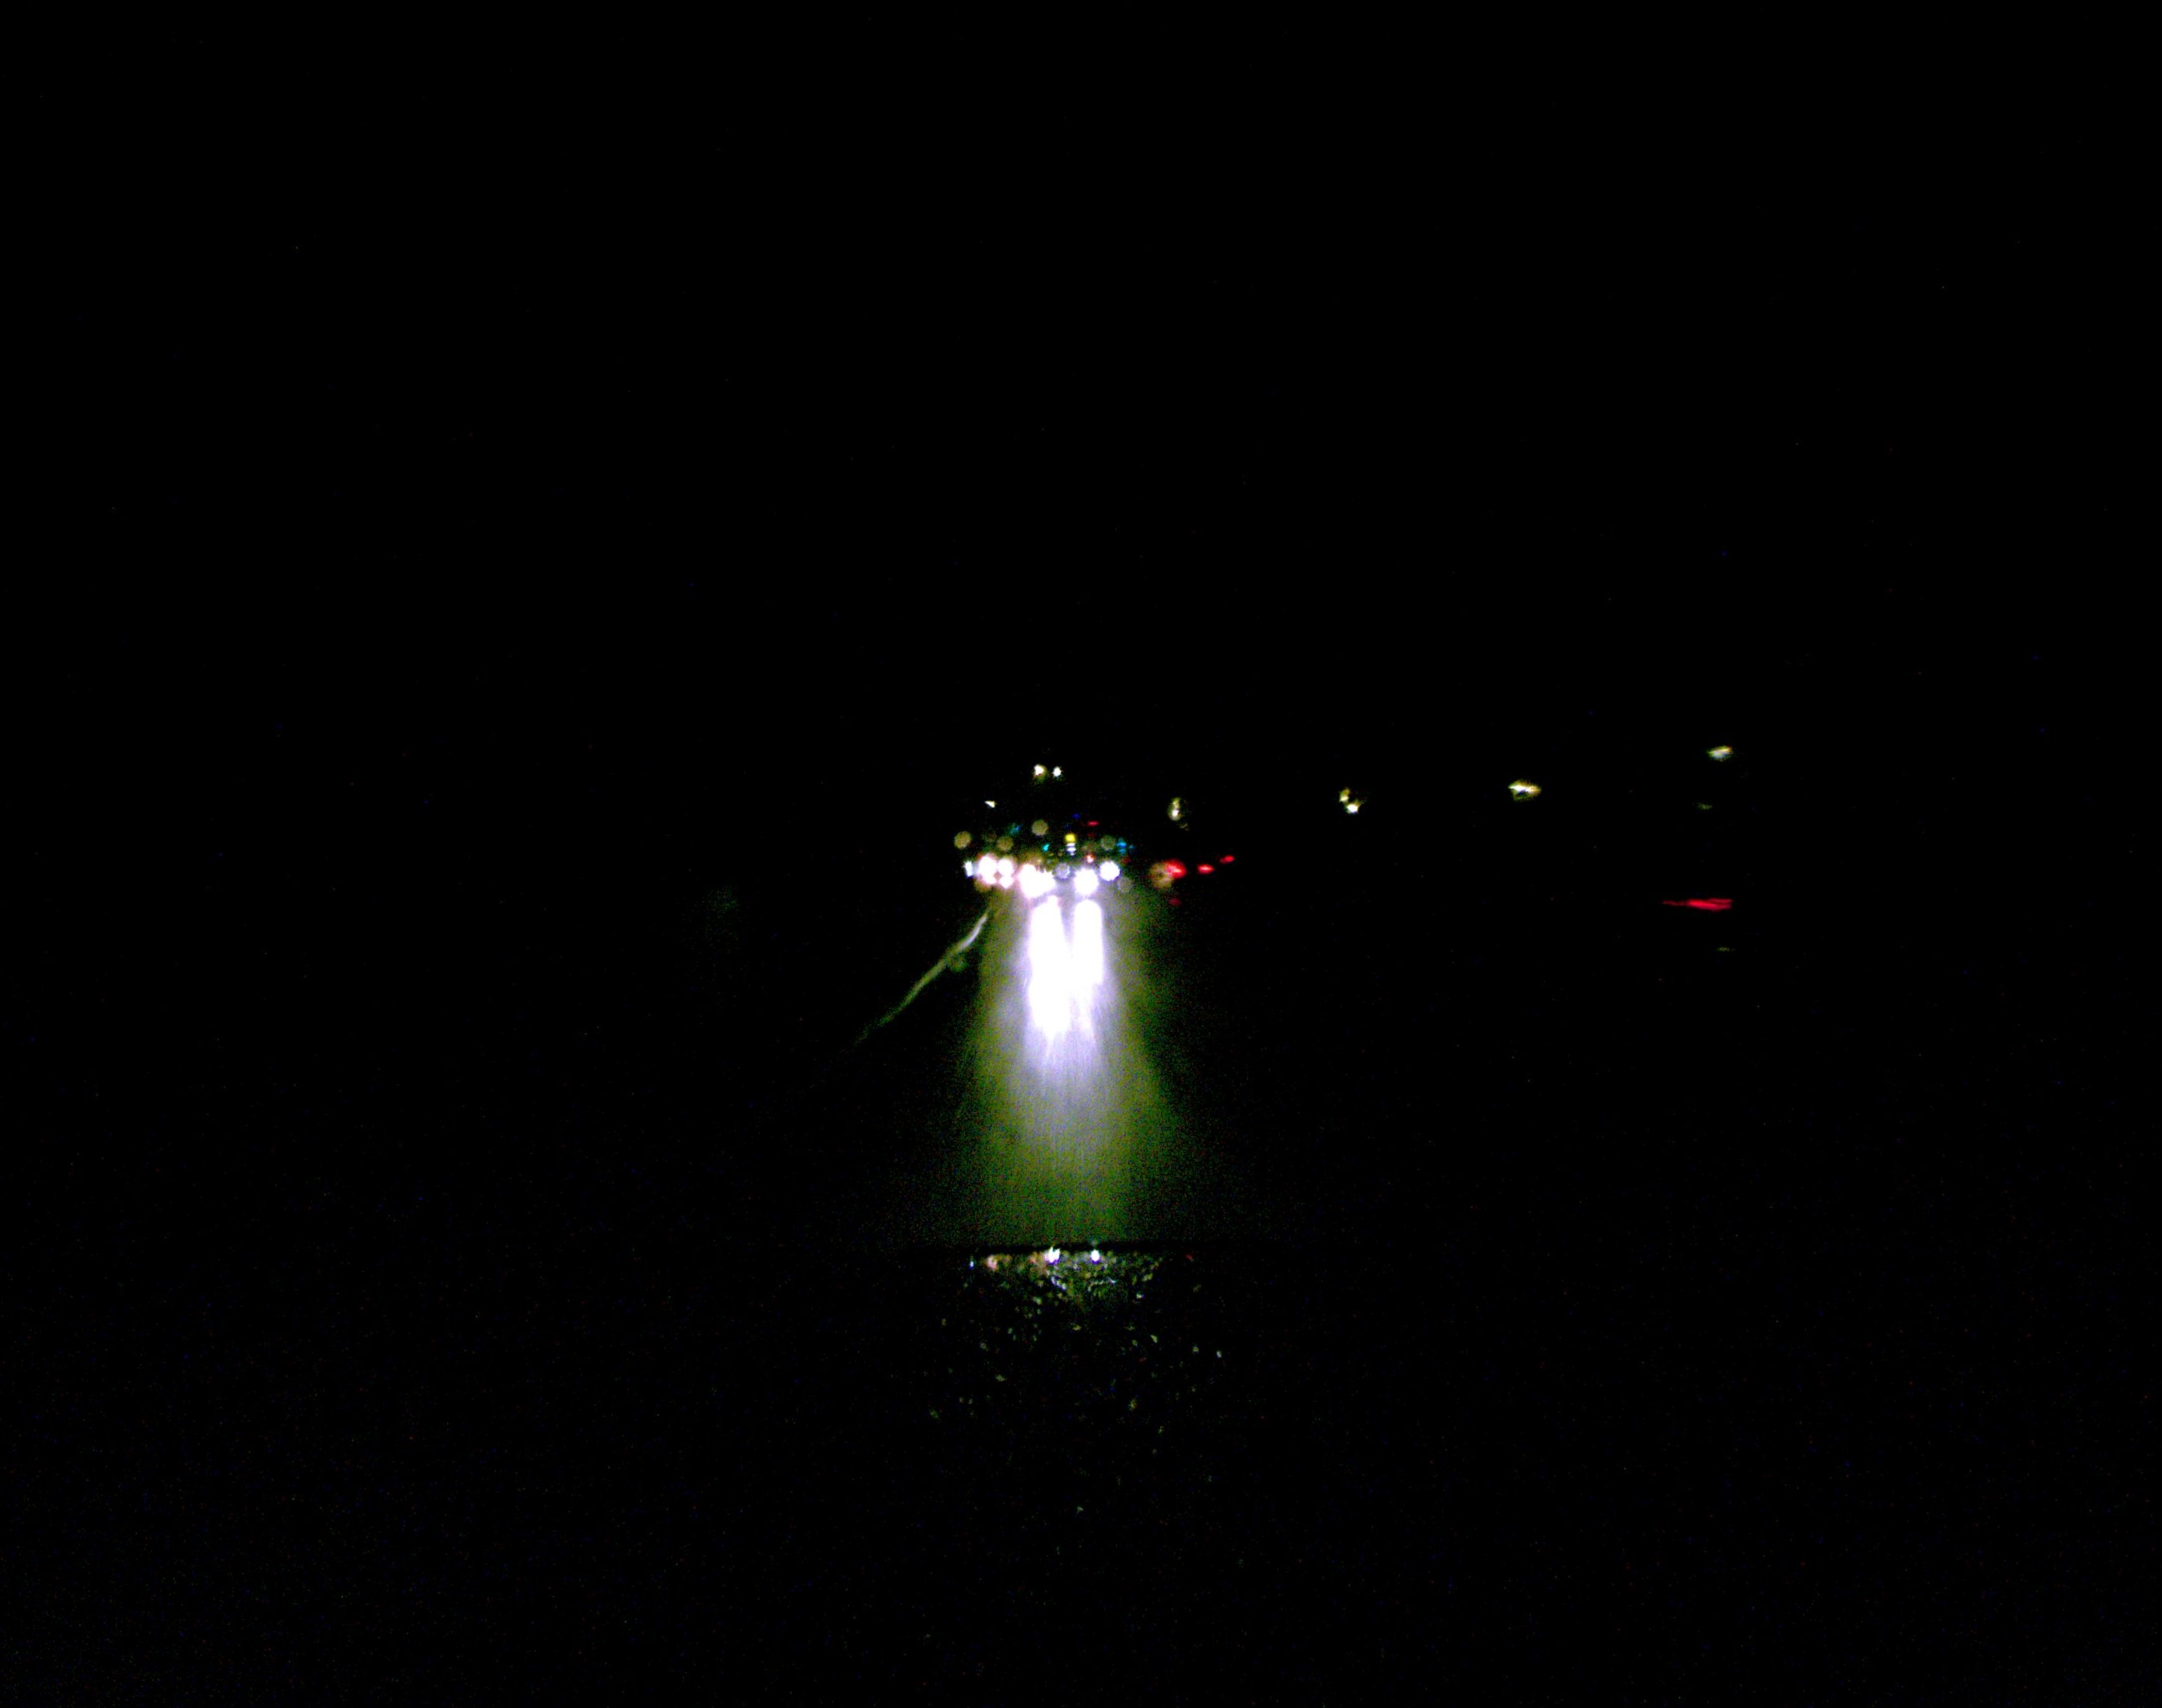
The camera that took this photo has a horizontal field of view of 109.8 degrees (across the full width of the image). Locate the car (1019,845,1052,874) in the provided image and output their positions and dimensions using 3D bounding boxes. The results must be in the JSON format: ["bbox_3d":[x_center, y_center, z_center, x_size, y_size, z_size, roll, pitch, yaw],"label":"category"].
[{"bbox_3d":[-3.298,0.363,55.699,1.898,2.002,4.000,-2,1,3],"label":"car"}]

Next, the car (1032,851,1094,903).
[{"bbox_3d":[-0.760,0.774,27.933,1.999,1.585,4.606,-4,1,-4],"label":"car"}]

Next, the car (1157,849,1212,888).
[{"bbox_3d":[4.281,0.559,31.896,1.656,1.483,3.858,-2,1,-1],"label":"car"}]

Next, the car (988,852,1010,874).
[{"bbox_3d":[-7.139,0.790,66.169,1.709,1.762,3.997,-2,1,-6],"label":"car"}]

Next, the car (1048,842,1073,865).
[{"bbox_3d":[-1.892,-0.077,70.995,1.998,2.002,4.000,-2,1,2],"label":"car"}]
